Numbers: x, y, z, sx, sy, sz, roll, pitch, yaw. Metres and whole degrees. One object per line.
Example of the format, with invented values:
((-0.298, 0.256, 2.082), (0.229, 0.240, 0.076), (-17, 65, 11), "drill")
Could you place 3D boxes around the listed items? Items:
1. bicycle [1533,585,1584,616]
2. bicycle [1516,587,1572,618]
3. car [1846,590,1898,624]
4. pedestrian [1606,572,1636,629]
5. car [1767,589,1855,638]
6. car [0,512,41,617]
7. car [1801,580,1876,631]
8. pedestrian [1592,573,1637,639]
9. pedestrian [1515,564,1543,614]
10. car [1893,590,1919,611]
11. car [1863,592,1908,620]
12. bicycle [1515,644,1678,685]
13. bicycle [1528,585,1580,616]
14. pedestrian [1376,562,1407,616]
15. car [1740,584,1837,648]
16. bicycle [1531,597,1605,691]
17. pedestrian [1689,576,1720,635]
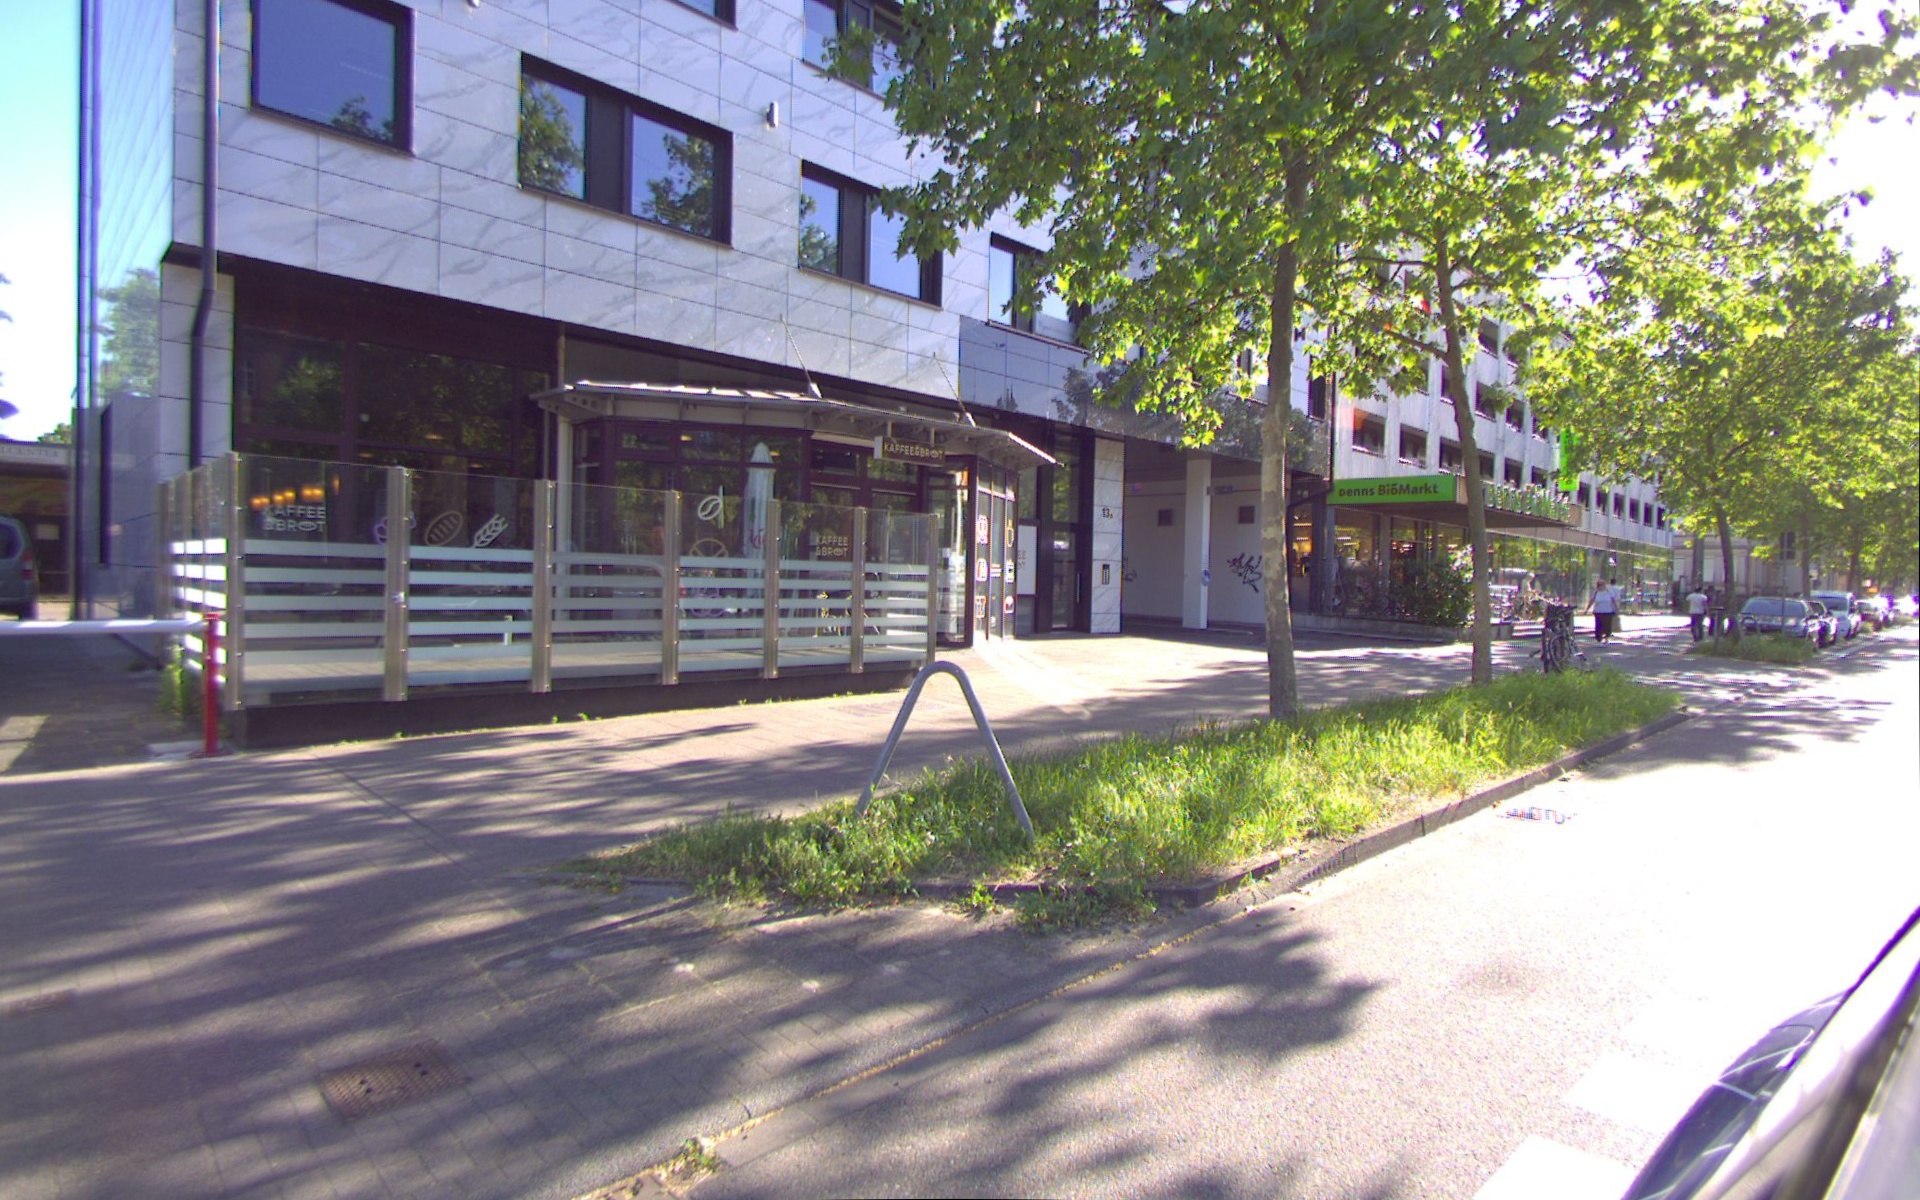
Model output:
((23.404, -0.006, 39.586), (0.573, 1.068, 1.710), (2, 3, -17), "bicycle")
((20.359, 0.065, 35.321), (0.573, 0.927, 1.656), (4, 2, -17), "bicycle")
((44.613, 0.293, 49.490), (1.674, 1.455, 3.631), (5, 5, 44), "car")
((20.699, 0.010, 31.681), (0.864, 1.766, 0.560), (0, 2, -45), "pedestrian")
((26.920, 0.381, 31.954), (1.762, 1.435, 4.624), (1, 1, 45), "car")
((-17.042, -0.650, 17.554), (1.568, 1.692, 3.614), (0, 2, -43), "car")
((33.628, 0.183, 38.699), (4.320, 1.814, 1.766), (0, 2, -44), "car")
((16.727, 0.142, 25.871), (0.853, 1.632, 0.699), (0, 3, -42), "pedestrian")
((20.768, -0.409, 36.934), (0.607, 1.735, 0.609), (8, 5, 21), "pedestrian")
((73.562, 0.040, 78.283), (4.204, 1.584, 1.835), (0, 1, -45), "car")
((51.923, 0.292, 56.729), (3.866, 1.459, 1.627), (0, 3, -45), "car")
((8.669, 0.857, 13.791), (1.366, 0.357, 1.610), (0, 2, -44), "bicycle")
((22.787, 0.014, 38.843), (0.573, 1.068, 1.710), (3, 2, -17), "bicycle")
((13.864, -0.350, 32.498), (0.868, 1.698, 0.558), (0, 4, -45), "pedestrian")
((22.288, 0.377, 27.168), (3.934, 1.569, 1.566), (-1, 2, -44), "car")
((8.331, 0.559, 13.825), (0.785, 1.147, 1.825), (2, 2, 33), "bicycle")
((22.310, 0.144, 30.325), (1.035, 1.725, 0.560), (0, 2, -45), "pedestrian")
